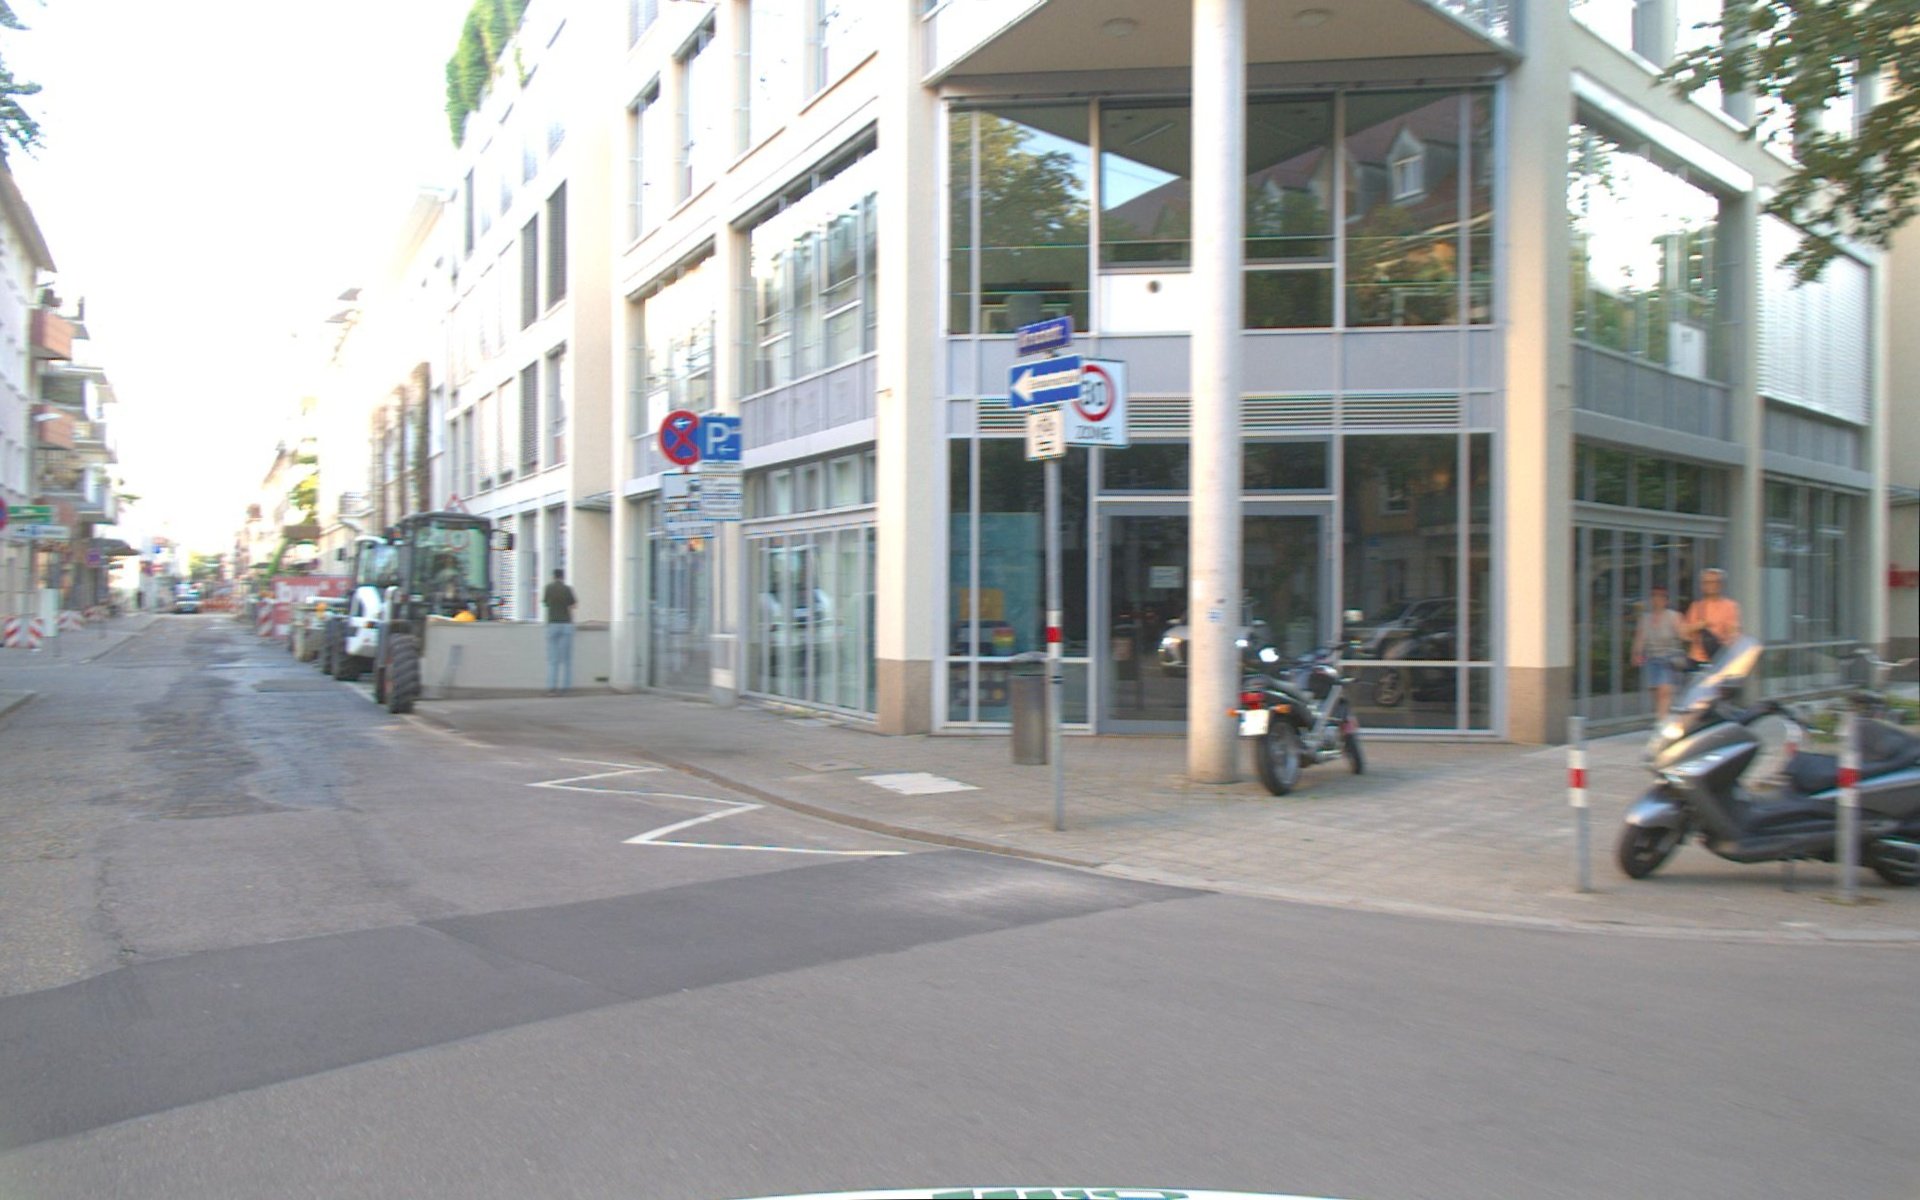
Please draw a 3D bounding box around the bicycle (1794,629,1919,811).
[{"bbox_3d":[6.810,0.834,12.203,0.673,1.173,1.968,0,1,42],"label":"bicycle"}]

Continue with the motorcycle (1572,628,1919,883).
[{"bbox_3d":[4.757,0.830,9.234,2.300,1.304,1.068,0,0,2],"label":"motorcycle"}]

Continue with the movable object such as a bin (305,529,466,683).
[{"bbox_3d":[-10.502,0.076,30.071,2.250,2.584,4.062,-1,0,-27],"label":"movable object such as a bin"}]

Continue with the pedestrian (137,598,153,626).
[{"bbox_3d":[-48.506,0.711,98.485,0.786,1.690,0.739,0,0,-23],"label":"pedestrian"}]

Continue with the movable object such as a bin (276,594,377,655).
[{"bbox_3d":[-16.195,0.577,42.188,2.022,1.436,3.940,-1,1,-27],"label":"movable object such as a bin"}]

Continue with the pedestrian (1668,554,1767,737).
[{"bbox_3d":[7.367,0.426,16.080,0.729,1.720,0.603,0,0,44],"label":"pedestrian"}]

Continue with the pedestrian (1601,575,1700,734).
[{"bbox_3d":[6.988,0.530,16.744,0.758,1.562,0.639,0,0,42],"label":"pedestrian"}]

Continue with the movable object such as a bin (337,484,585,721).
[{"bbox_3d":[-6.834,0.000,22.166,2.250,2.739,5.599,-1,1,-27],"label":"movable object such as a bin"}]

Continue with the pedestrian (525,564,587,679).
[{"bbox_3d":[-6.728,0.342,27.535,0.875,1.883,0.870,0,0,-23],"label":"pedestrian"}]

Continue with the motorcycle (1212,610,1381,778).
[{"bbox_3d":[2.732,0.694,13.219,0.546,1.192,2.302,0,1,32],"label":"motorcycle"}]

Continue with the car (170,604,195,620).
[{"bbox_3d":[-59.244,0.908,126.013,1.519,1.154,3.092,0,1,-28],"label":"car"}]
